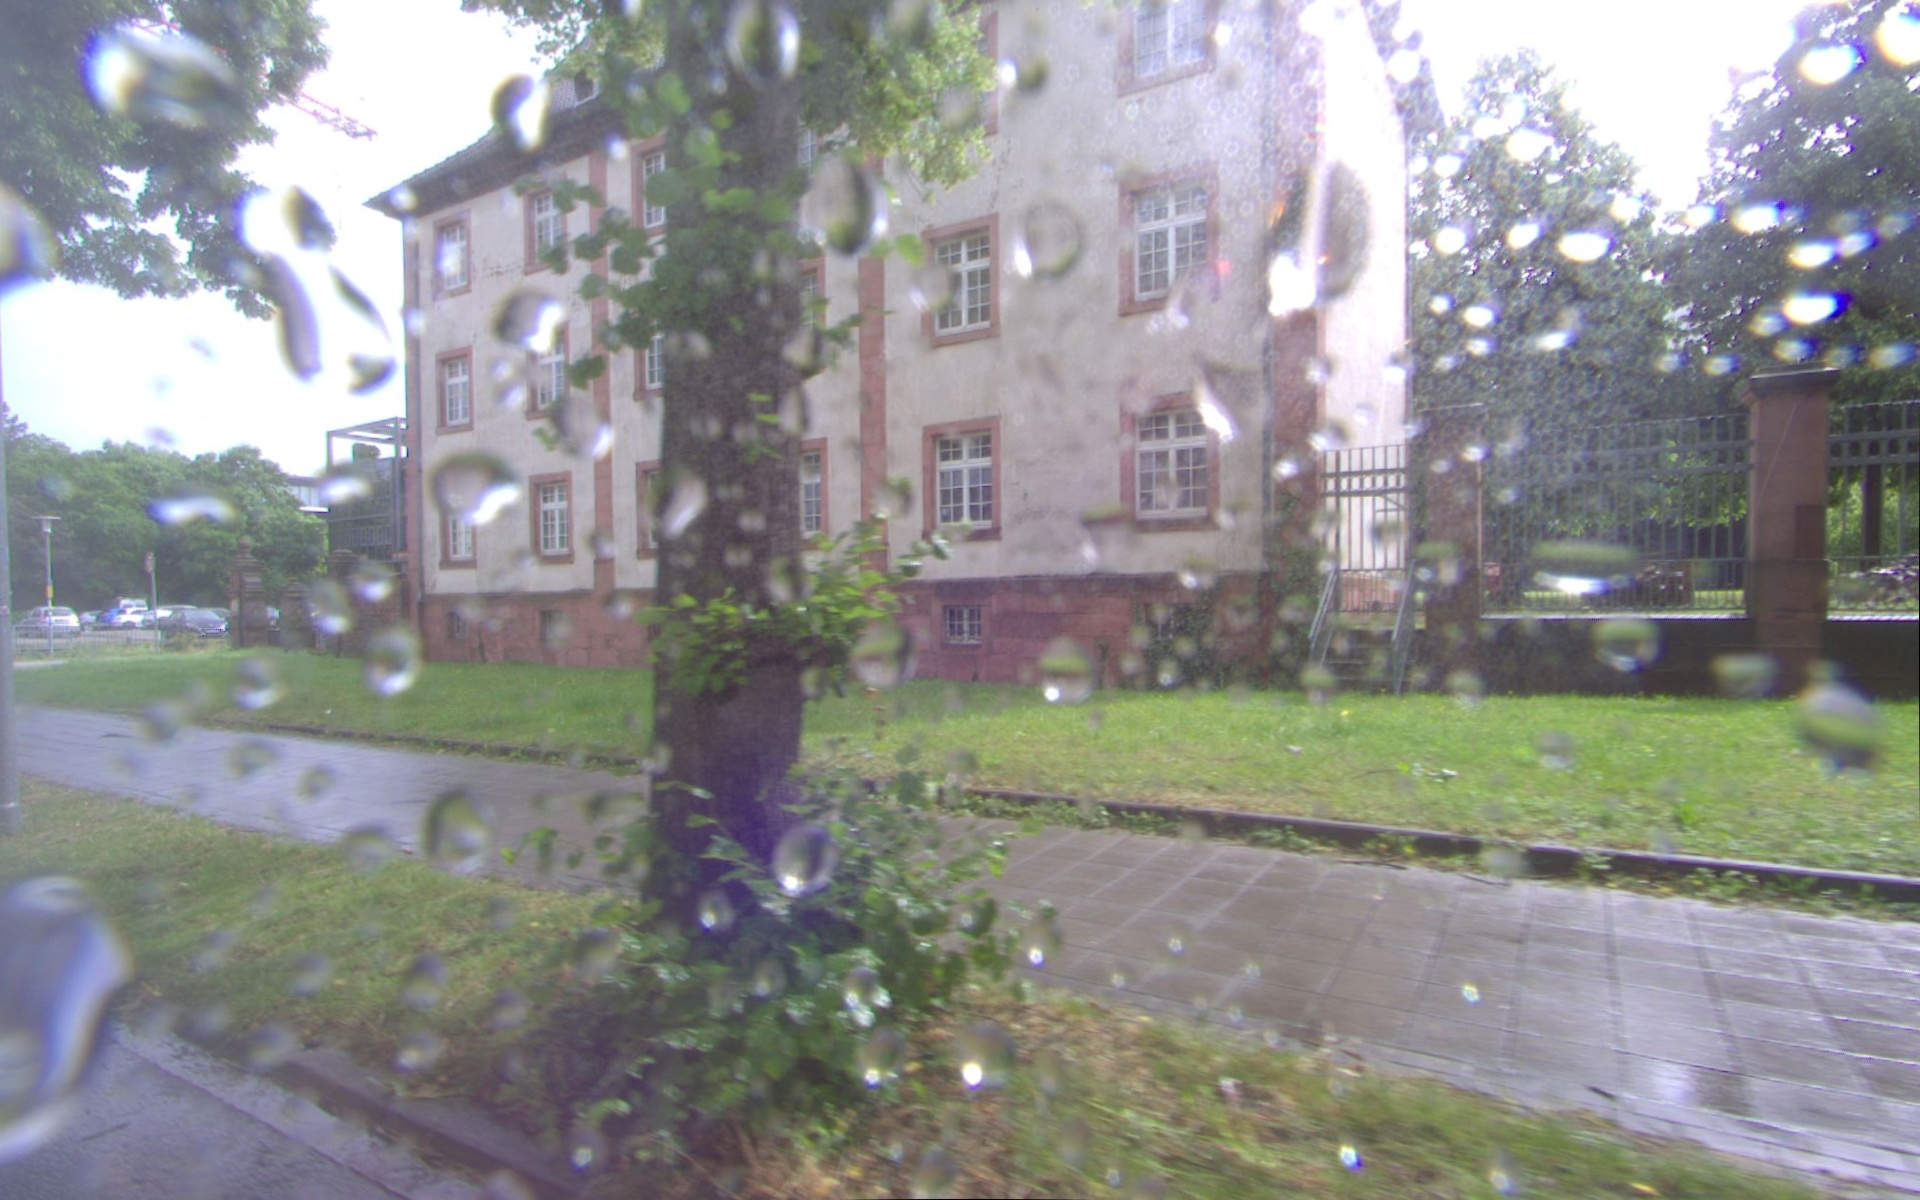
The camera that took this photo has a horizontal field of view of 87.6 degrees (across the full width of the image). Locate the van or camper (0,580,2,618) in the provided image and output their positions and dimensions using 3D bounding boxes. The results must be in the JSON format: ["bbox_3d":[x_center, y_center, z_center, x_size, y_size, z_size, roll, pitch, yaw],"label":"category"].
[{"bbox_3d":[-51.185,-0.082,49.763,2.101,1.951,4.865,1,0,33],"label":"van or camper"}]

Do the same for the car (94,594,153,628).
[{"bbox_3d":[-54.729,0.722,65.534,3.948,2.041,1.986,-1,3,36],"label":"car"}]

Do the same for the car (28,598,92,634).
[{"bbox_3d":[-45.712,0.802,50.843,3.822,1.707,1.734,0,3,39],"label":"car"}]

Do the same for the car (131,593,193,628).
[{"bbox_3d":[-50.110,0.628,62.831,3.948,2.041,1.986,-1,3,36],"label":"car"}]

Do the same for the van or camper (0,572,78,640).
[{"bbox_3d":[-38.015,0.247,39.005,2.136,2.630,5.023,0,1,31],"label":"van or camper"}]
